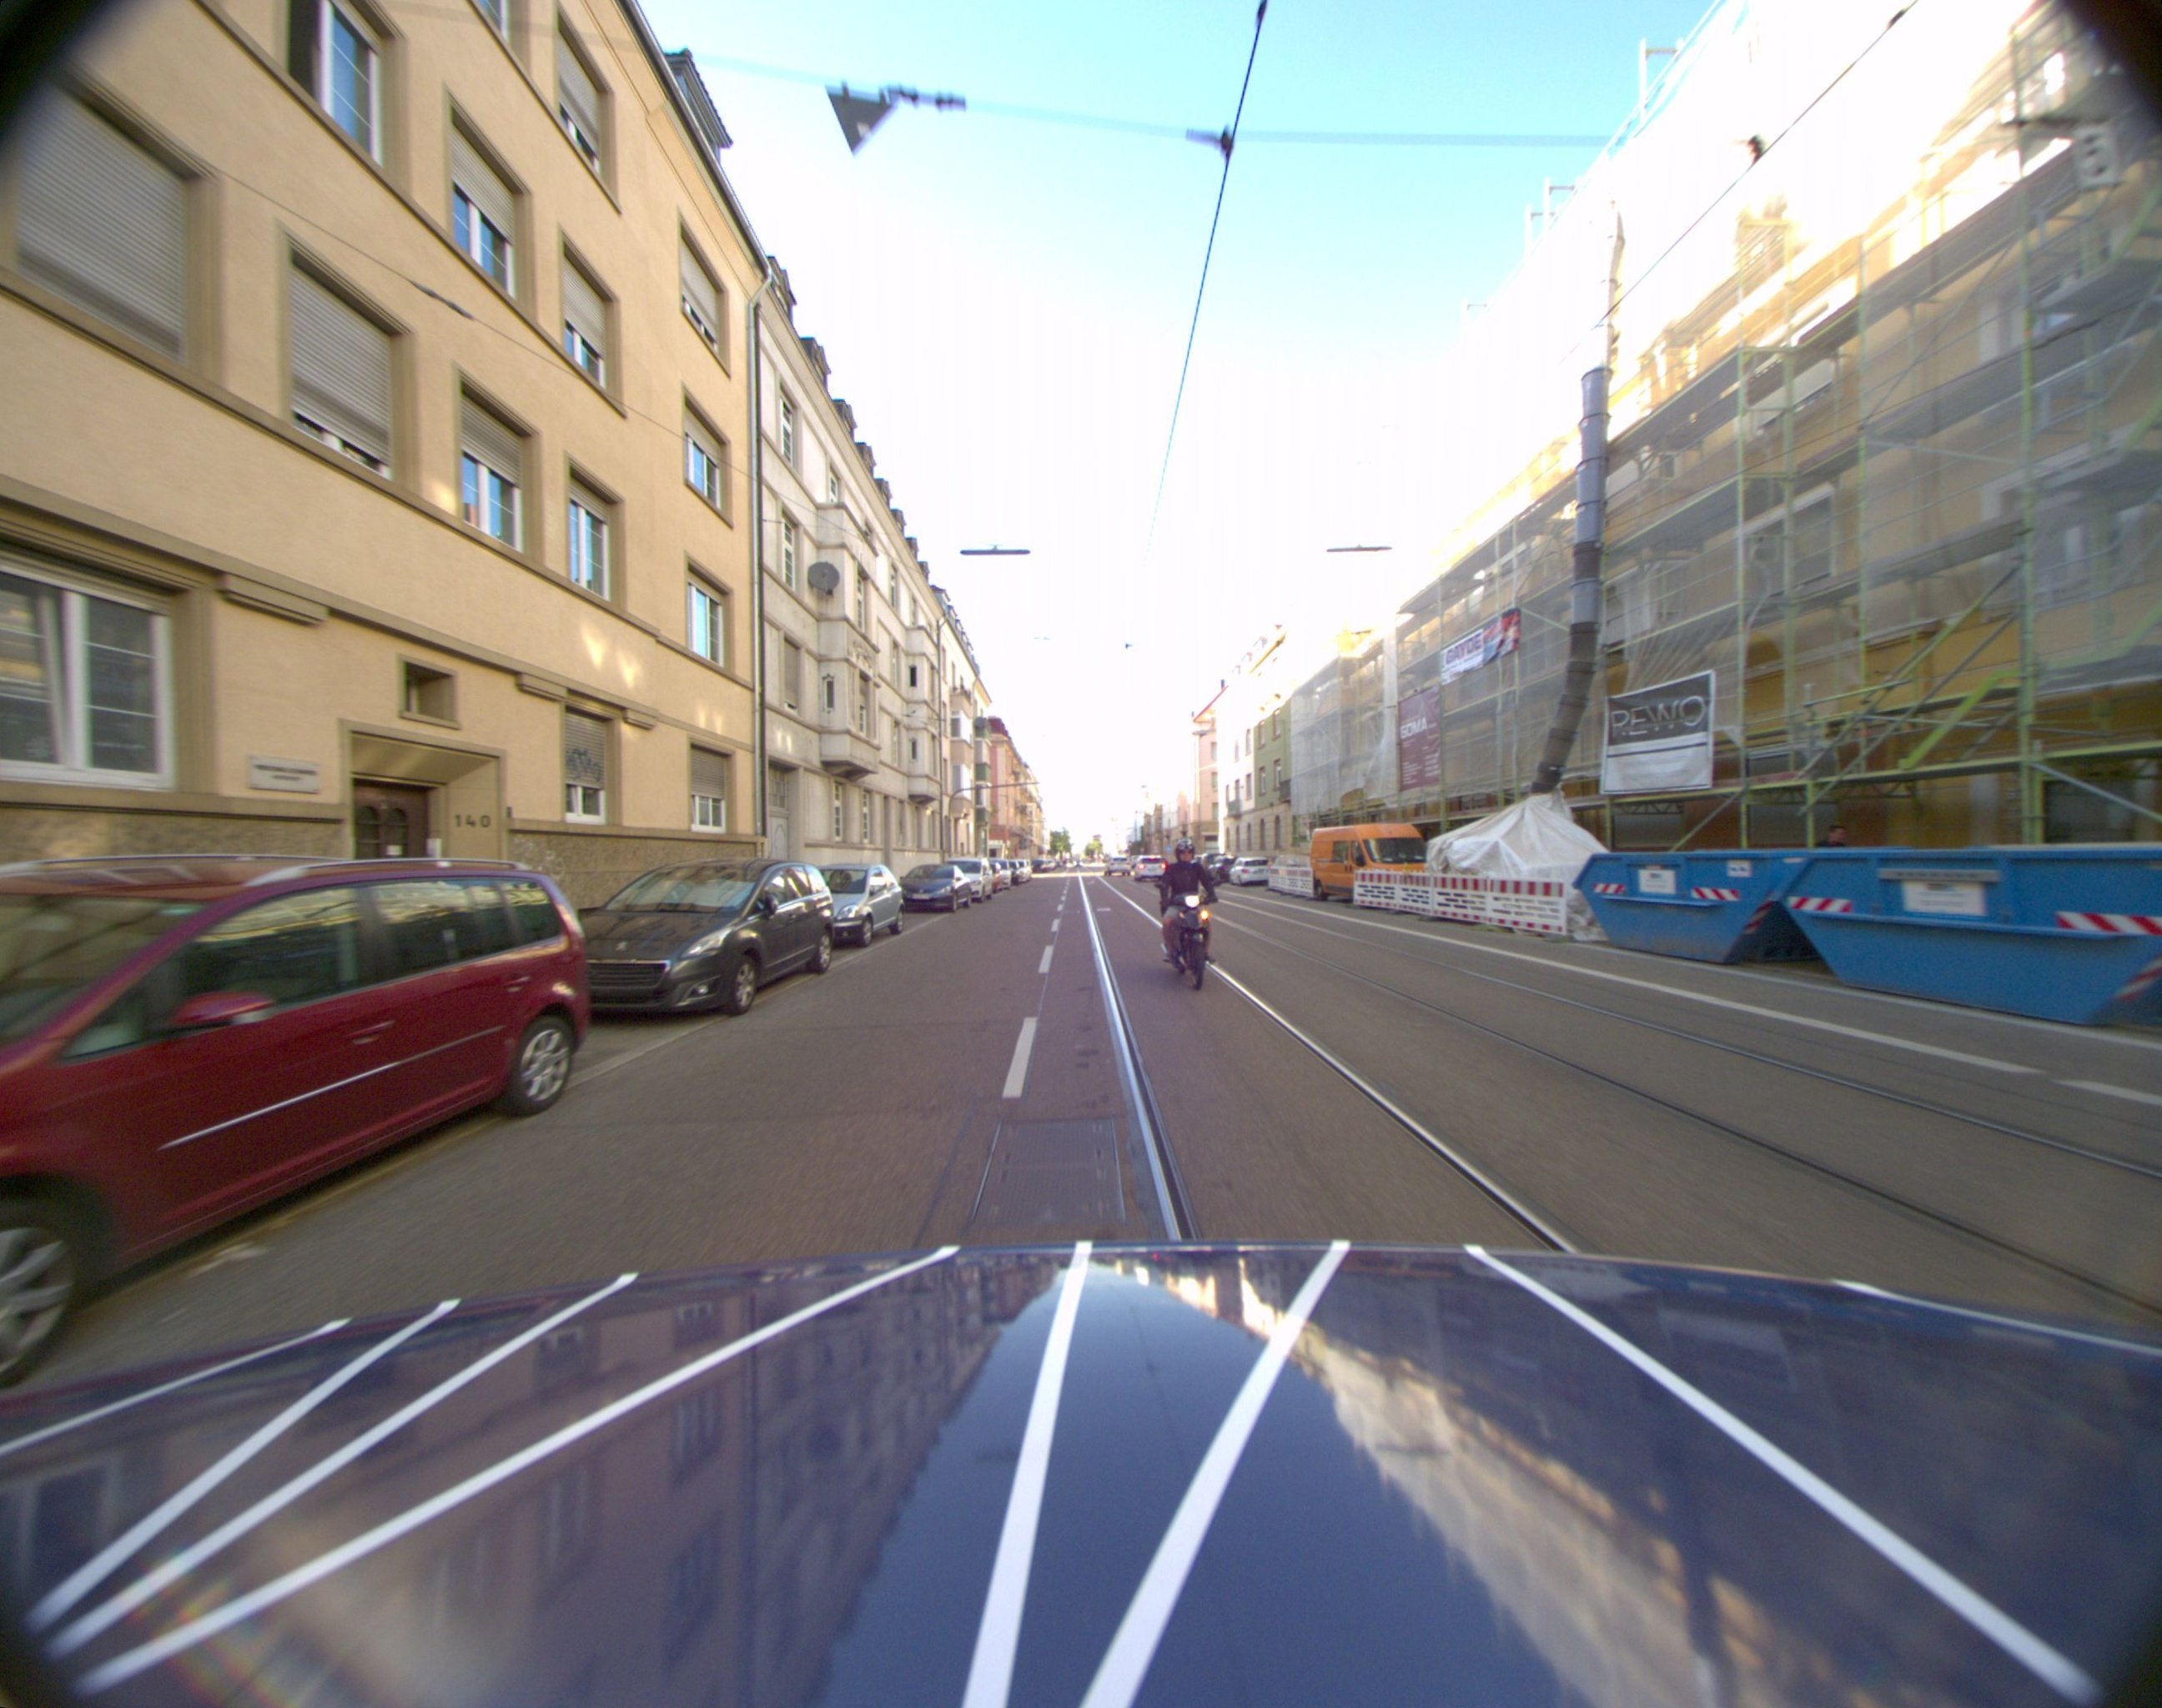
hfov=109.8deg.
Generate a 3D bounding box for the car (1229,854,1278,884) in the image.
[{"bbox_3d":[9.259,0.775,41.126,1.751,1.502,4.000,0,0,0],"label":"car"}]

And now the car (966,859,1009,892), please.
[{"bbox_3d":[-4.592,1.035,37.721,1.570,1.475,3.365,1,0,1],"label":"car"}]

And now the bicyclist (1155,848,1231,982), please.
[{"bbox_3d":[1.340,0.706,9.183,0.843,1.545,0.850,-1,0,7],"label":"bicyclist"}]

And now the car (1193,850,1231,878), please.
[{"bbox_3d":[9.106,0.663,53.062,1.798,1.835,3.769,-3,0,-1],"label":"car"}]

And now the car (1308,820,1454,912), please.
[{"bbox_3d":[8.878,0.319,23.239,2.125,2.454,6.000,0,0,0],"label":"car"}]

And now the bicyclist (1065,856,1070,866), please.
[{"bbox_3d":[-2.205,1.097,121.359,0.744,1.481,0.816,-1,0,-2],"label":"bicyclist"}]

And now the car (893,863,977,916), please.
[{"bbox_3d":[-4.452,1.044,23.759,1.703,1.443,4.206,0,0,2],"label":"car"}]

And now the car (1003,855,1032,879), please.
[{"bbox_3d":[-4.359,0.859,52.811,1.703,1.581,3.960,-1,0,0],"label":"car"}]

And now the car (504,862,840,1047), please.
[{"bbox_3d":[-4.438,0.949,9.162,1.794,1.642,4.366,0,0,-2],"label":"car"}]

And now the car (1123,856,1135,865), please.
[{"bbox_3d":[8.627,1.136,137.670,1.798,1.494,3.769,-3,0,-1],"label":"car"}]

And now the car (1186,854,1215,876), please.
[{"bbox_3d":[9.112,0.787,58.065,1.798,1.601,3.770,-1,0,3],"label":"car"}]

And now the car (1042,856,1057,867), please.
[{"bbox_3d":[-4.722,1.127,113.429,1.998,1.630,4.000,0,0,0],"label":"car"}]

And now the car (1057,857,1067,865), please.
[{"bbox_3d":[-4.308,1.511,170.851,1.998,1.674,4.000,-1,0,0],"label":"car"}]

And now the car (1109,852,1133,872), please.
[{"bbox_3d":[3.341,0.657,64.564,1.772,1.598,4.293,0,0,-1],"label":"car"}]

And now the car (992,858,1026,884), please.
[{"bbox_3d":[-4.480,1.038,47.693,1.703,1.496,3.863,-1,0,1],"label":"car"}]

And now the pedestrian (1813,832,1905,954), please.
[{"bbox_3d":[11.145,0.540,10.905,0.582,1.684,0.717,-1,0,0],"label":"pedestrian"}]

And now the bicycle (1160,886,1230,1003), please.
[{"bbox_3d":[1.343,1.016,9.184,0.740,1.170,1.975,-1,0,6],"label":"bicycle"}]

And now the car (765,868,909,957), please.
[{"bbox_3d":[-4.539,1.022,14.624,1.612,1.454,3.479,0,0,1],"label":"car"}]

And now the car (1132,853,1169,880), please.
[{"bbox_3d":[4.442,0.771,49.202,1.825,1.559,4.200,-4,0,-2],"label":"car"}]

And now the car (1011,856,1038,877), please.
[{"bbox_3d":[-4.384,0.959,59.235,1.703,1.581,3.355,1,0,2],"label":"car"}]

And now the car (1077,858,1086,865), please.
[{"bbox_3d":[0.094,1.678,167.794,1.999,1.586,4.000,-1,0,0],"label":"car"}]

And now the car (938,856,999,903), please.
[{"bbox_3d":[-4.298,0.930,29.655,1.713,1.683,4.589,0,0,0],"label":"car"}]

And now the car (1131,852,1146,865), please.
[{"bbox_3d":[8.997,0.720,119.155,1.999,2.002,4.000,0,0,0],"label":"car"}]

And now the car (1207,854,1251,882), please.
[{"bbox_3d":[9.111,0.816,47.102,1.702,1.569,4.222,-3,0,-1],"label":"car"}]

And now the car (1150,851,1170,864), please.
[{"bbox_3d":[9.146,0.401,88.433,1.798,1.494,3.769,-3,0,-1],"label":"car"}]

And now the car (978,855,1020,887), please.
[{"bbox_3d":[-4.454,0.905,42.024,1.703,1.688,4.188,0,0,2],"label":"car"}]

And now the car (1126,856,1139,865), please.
[{"bbox_3d":[8.794,1.087,129.647,1.798,1.494,3.769,-3,0,-1],"label":"car"}]

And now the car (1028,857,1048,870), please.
[{"bbox_3d":[-4.725,0.993,83.435,1.998,1.412,3.727,0,0,0],"label":"car"}]

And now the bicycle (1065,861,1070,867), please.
[{"bbox_3d":[-2.214,1.629,121.248,0.744,0.850,1.885,-1,0,-1],"label":"bicycle"}]

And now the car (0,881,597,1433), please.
[{"bbox_3d":[-4.189,0.991,3.316,1.596,1.599,4.245,0,0,-3],"label":"car"}]

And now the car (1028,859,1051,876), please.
[{"bbox_3d":[-3.796,1.189,70.330,1.702,1.465,3.780,1,0,3],"label":"car"}]
